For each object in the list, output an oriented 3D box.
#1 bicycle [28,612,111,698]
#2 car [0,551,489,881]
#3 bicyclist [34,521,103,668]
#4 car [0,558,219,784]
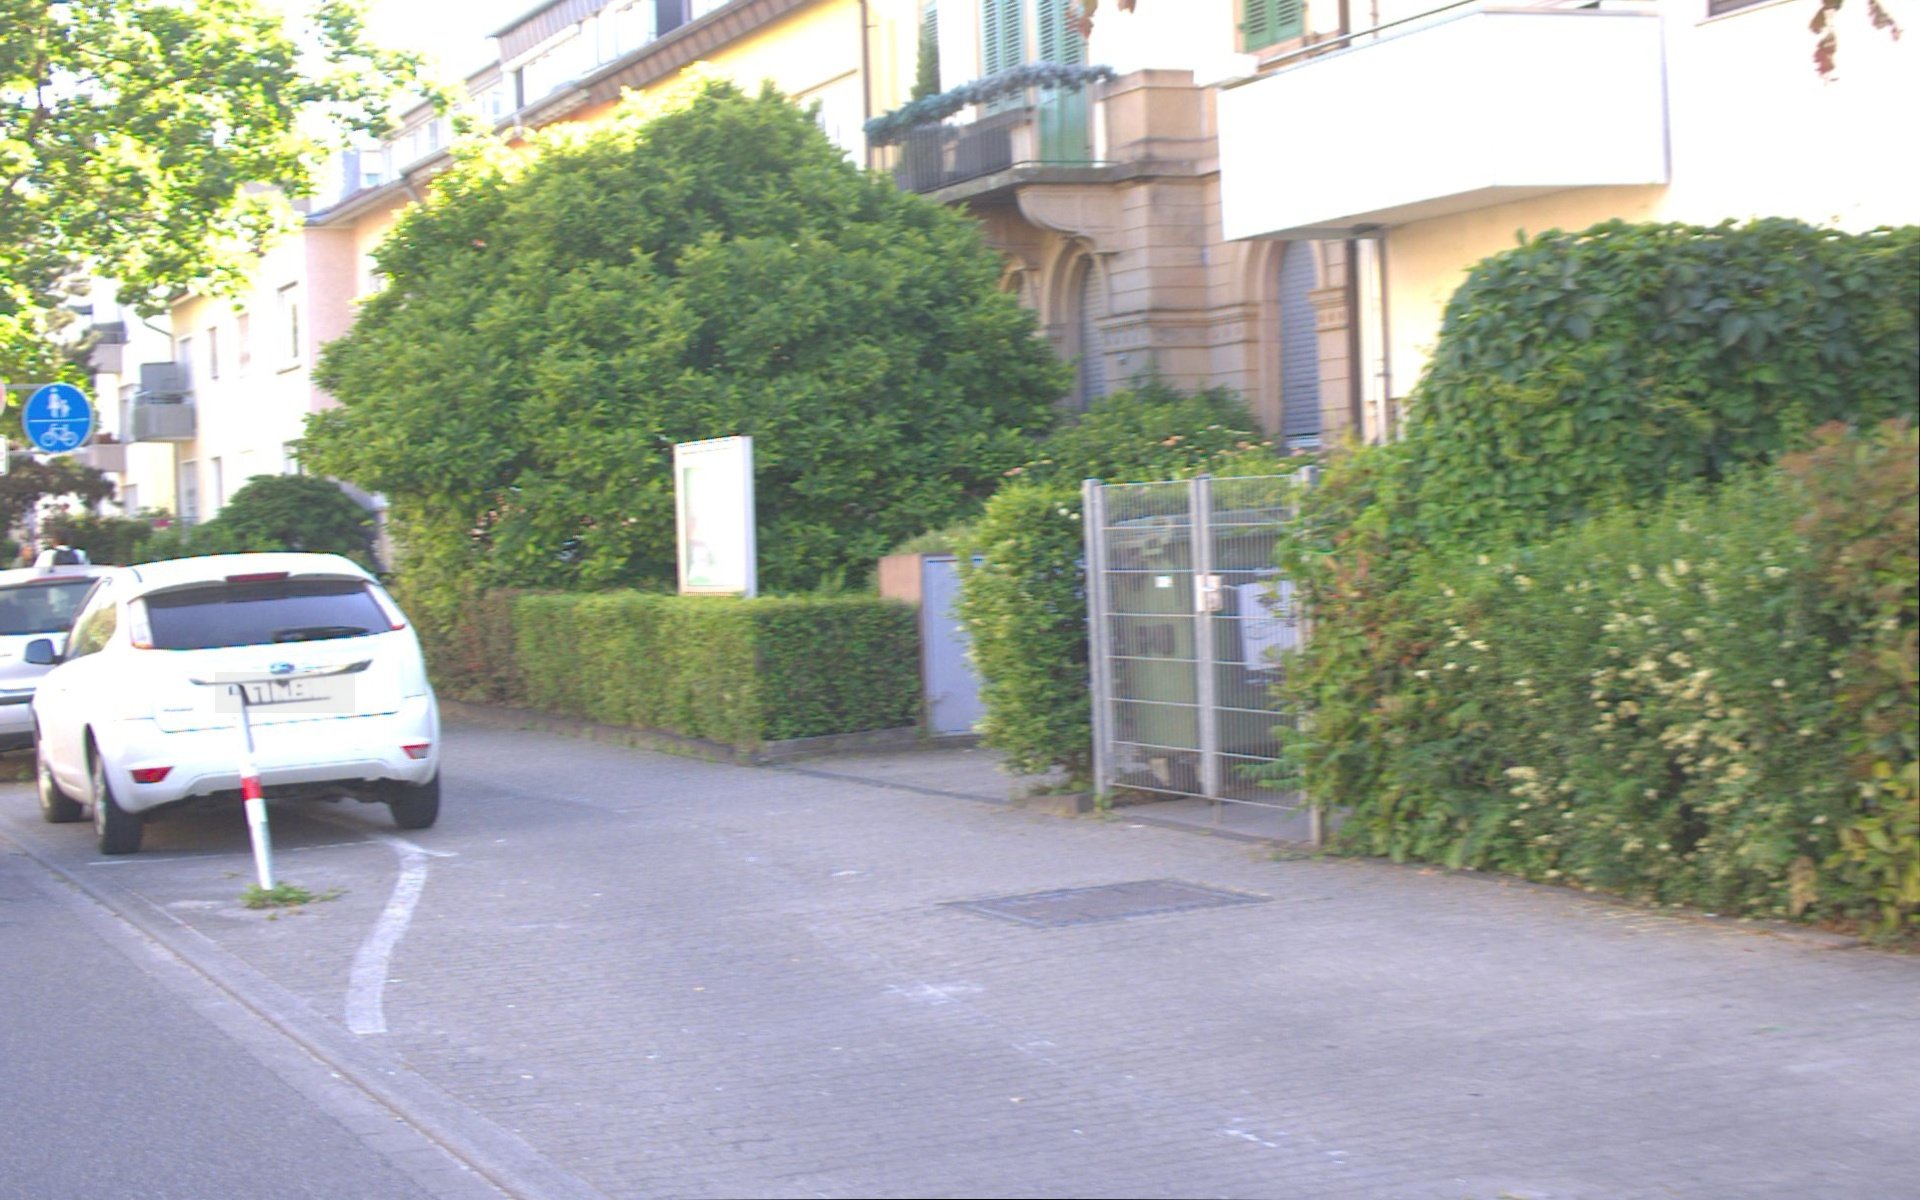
[{"bbox_3d":[-9.556,0.577,36.843,0.553,0.830,2.132,-2,2,-22],"label":"bicycle"},{"bbox_3d":[-4.063,0.553,18.986,1.909,1.514,4.001,-3,2,-22],"label":"car"},{"bbox_3d":[-9.523,-0.067,36.717,0.553,1.543,0.815,-2,2,-22],"label":"bicyclist"},{"bbox_3d":[-6.812,0.486,25.308,1.909,1.425,4.001,-5,2,-22],"label":"car"}]
